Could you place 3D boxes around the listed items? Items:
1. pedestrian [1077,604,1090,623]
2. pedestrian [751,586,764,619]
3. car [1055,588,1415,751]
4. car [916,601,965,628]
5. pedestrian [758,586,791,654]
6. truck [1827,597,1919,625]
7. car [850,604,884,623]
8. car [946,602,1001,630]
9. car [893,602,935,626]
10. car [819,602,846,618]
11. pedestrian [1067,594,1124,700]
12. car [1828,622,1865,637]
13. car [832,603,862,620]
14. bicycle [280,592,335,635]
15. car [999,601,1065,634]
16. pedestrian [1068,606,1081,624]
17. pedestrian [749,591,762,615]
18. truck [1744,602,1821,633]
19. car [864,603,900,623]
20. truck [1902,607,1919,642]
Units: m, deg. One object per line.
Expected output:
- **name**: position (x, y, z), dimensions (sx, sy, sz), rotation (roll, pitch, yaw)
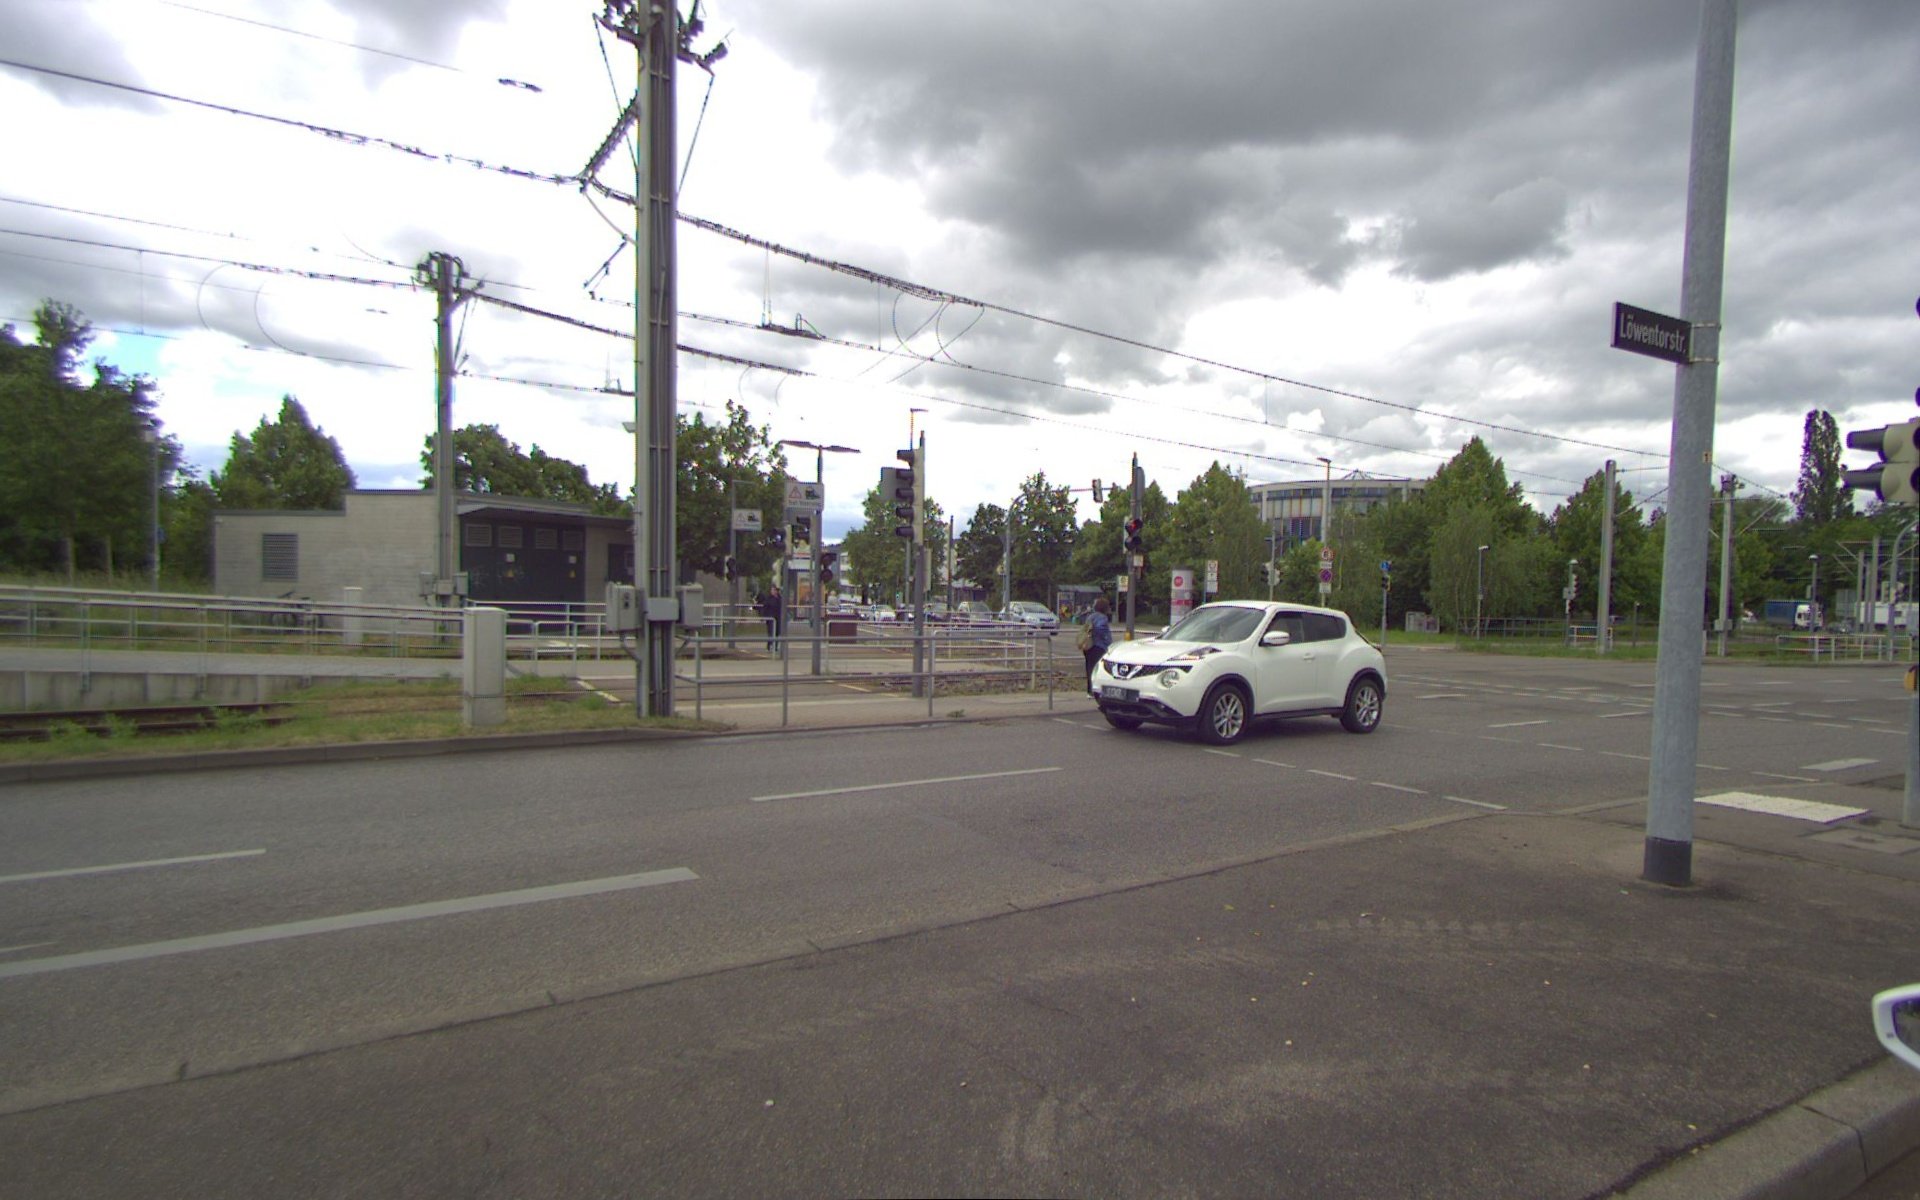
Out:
- **pedestrian**: position (8.806, 0.931, 71.606), dimensions (0.652, 1.322, 0.780), rotation (1, 0, -16)
- **pedestrian**: position (-12.187, 0.158, 60.476), dimensions (0.738, 1.993, 0.795), rotation (1, 0, -9)
- **car**: position (3.424, 0.750, 12.188), dimensions (4.379, 1.650, 1.818), rotation (1, -1, -34)
- **car**: position (-1.150, 0.817, 58.161), dimensions (1.706, 1.456, 3.731), rotation (1, 0, -20)
- **pedestrian**: position (-4.554, 0.480, 24.622), dimensions (0.695, 1.628, 0.655), rotation (1, 0, -19)
- **truck**: position (115.019, 1.368, 126.757), dimensions (2.693, 3.373, 11.413), rotation (1, 0, 9)
- **car**: position (-7.420, 1.024, 79.681), dimensions (1.706, 1.456, 3.991), rotation (1, 0, -20)
- **car**: position (0.689, 0.844, 53.666), dimensions (1.706, 1.456, 3.731), rotation (1, 0, -20)
- **car**: position (-3.005, 0.889, 64.928), dimensions (1.706, 1.456, 3.731), rotation (1, 0, -20)
- **car**: position (-11.933, 0.963, 94.068), dimensions (1.706, 1.456, 3.731), rotation (1, 0, -20)
- **pedestrian**: position (2.083, 0.701, 15.436), dimensions (0.701, 1.584, 0.533), rotation (1, 1, -44)
- **car**: position (98.852, 3.271, 112.059), dimensions (1.752, 1.465, 4.525), rotation (-1, 0, 22)
- **car**: position (-9.770, 0.988, 86.712), dimensions (1.706, 1.456, 3.731), rotation (1, 0, -20)
- **bicycle**: position (-17.326, 0.344, 26.673), dimensions (1.452, 1.101, 0.492), rotation (1, 0, 22)
- **car**: position (3.302, 0.800, 46.806), dimensions (1.706, 1.456, 3.731), rotation (1, 0, -20)
- **pedestrian**: position (8.297, 1.081, 72.913), dimensions (0.652, 1.321, 0.780), rotation (1, 0, -16)
- **pedestrian**: position (-13.956, 0.213, 68.491), dimensions (0.771, 1.649, 0.660), rotation (1, 0, -22)
- **truck**: position (107.573, 2.241, 131.630), dimensions (2.998, 3.810, 12.817), rotation (2, 0, 17)
- **car**: position (-5.814, 0.963, 74.778), dimensions (1.706, 1.456, 3.731), rotation (1, 0, -20)
- **truck**: position (88.468, 2.290, 91.844), dimensions (2.085, 3.176, 5.888), rotation (2, 0, 31)
